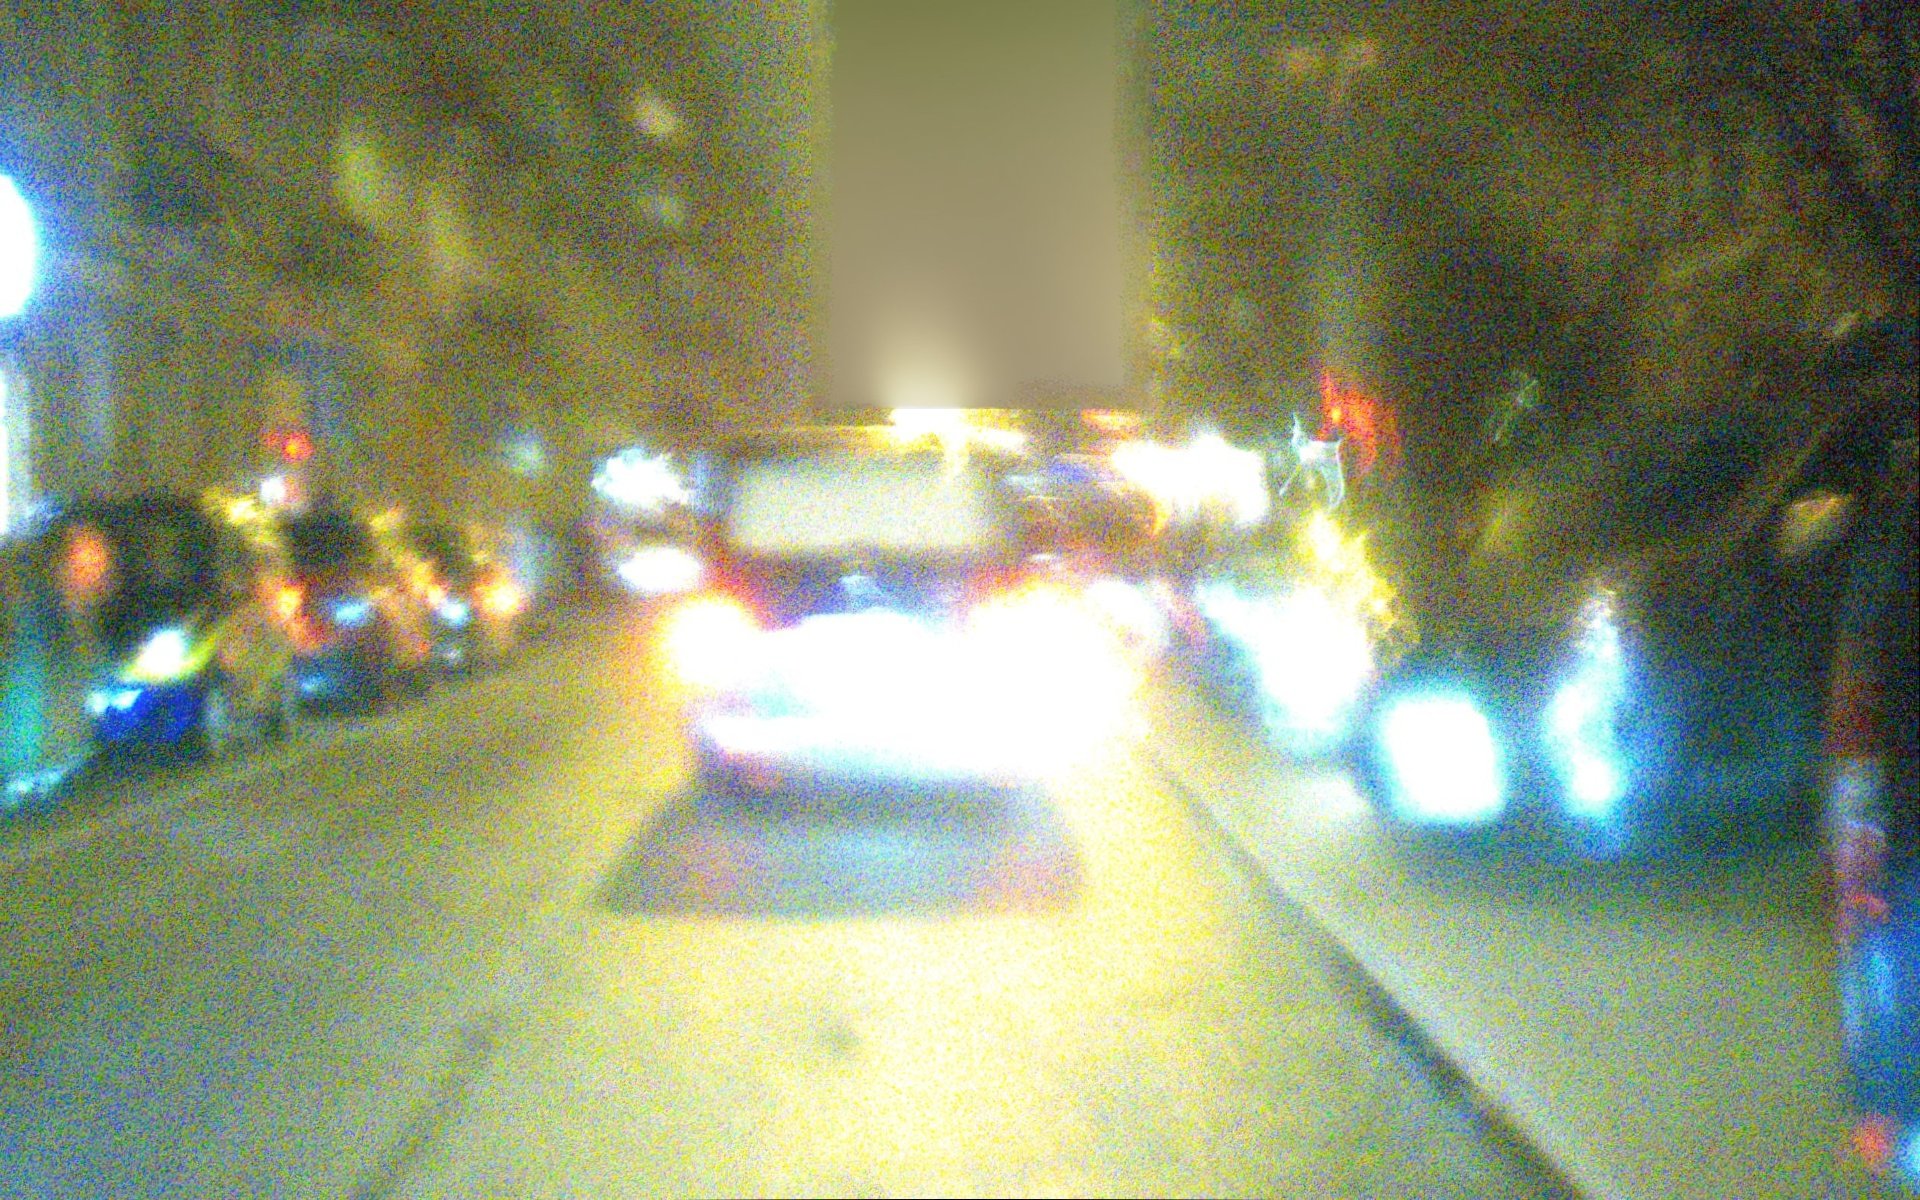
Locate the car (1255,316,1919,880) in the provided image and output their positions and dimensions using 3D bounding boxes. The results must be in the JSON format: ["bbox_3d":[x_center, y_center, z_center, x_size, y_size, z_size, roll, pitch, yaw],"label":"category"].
[{"bbox_3d":[3.805,-0.085,15.825,4.711,2.240,1.946,-2,1,-36],"label":"car"}]

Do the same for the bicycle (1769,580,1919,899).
[{"bbox_3d":[3.811,0.526,13.401,0.584,1.168,1.865,0,1,-10],"label":"bicycle"}]

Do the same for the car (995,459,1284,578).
[{"bbox_3d":[3.214,-1.475,61.156,4.784,2.042,2.067,-1,2,-31],"label":"car"}]

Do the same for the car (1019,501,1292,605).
[{"bbox_3d":[3.147,-0.761,55.386,3.986,1.487,1.735,-3,1,-25],"label":"car"}]

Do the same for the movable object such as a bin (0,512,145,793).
[{"bbox_3d":[-5.176,0.253,18.487,1.262,1.454,1.150,1,1,2],"label":"movable object such as a bin"}]

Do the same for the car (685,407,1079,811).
[{"bbox_3d":[-0.409,0.022,19.404,1.993,2.043,4.000,0,1,0],"label":"car"}]

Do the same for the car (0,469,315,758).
[{"bbox_3d":[-5.260,0.036,22.035,1.603,1.700,3.722,0,1,-1],"label":"car"}]

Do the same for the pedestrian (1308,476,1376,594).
[{"bbox_3d":[6.125,-1.045,55.179,0.868,1.849,0.993,-3,1,-3],"label":"pedestrian"}]

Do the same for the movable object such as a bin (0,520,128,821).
[{"bbox_3d":[-4.913,0.323,17.251,1.165,1.454,1.107,1,1,2],"label":"movable object such as a bin"}]

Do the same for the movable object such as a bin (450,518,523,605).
[{"bbox_3d":[-7.784,-0.644,56.509,0.975,1.393,1.133,2,1,2],"label":"movable object such as a bin"}]

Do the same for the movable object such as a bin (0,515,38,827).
[{"bbox_3d":[-5.067,0.320,16.003,1.208,1.454,1.107,1,1,2],"label":"movable object such as a bin"}]

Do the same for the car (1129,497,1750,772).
[{"bbox_3d":[3.038,0.173,21.622,3.641,1.536,1.560,-2,1,-30],"label":"car"}]

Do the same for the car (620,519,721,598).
[{"bbox_3d":[-5.556,-0.817,66.328,1.587,1.477,3.793,0,1,1],"label":"car"}]

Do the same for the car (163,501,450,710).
[{"bbox_3d":[-5.212,-0.016,27.870,1.603,1.547,4.026,1,2,-1],"label":"car"}]

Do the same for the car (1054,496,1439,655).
[{"bbox_3d":[2.937,-0.267,34.992,3.672,1.455,1.604,-3,2,-34],"label":"car"}]

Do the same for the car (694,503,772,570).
[{"bbox_3d":[-5.419,-1.530,82.069,1.812,1.552,4.077,0,1,-4],"label":"car"}]

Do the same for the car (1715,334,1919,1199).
[{"bbox_3d":[3.661,0.347,6.935,4.235,1.852,1.716,-4,1,-36],"label":"car"}]

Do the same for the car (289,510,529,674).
[{"bbox_3d":[-5.282,-0.129,33.412,1.686,1.450,4.316,1,2,-1],"label":"car"}]

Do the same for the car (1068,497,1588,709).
[{"bbox_3d":[3.035,-0.011,28.065,3.988,1.547,1.804,-2,1,-35],"label":"car"}]

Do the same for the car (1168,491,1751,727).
[{"bbox_3d":[3.710,0.024,25.255,3.988,1.547,1.999,-2,1,-38],"label":"car"}]
